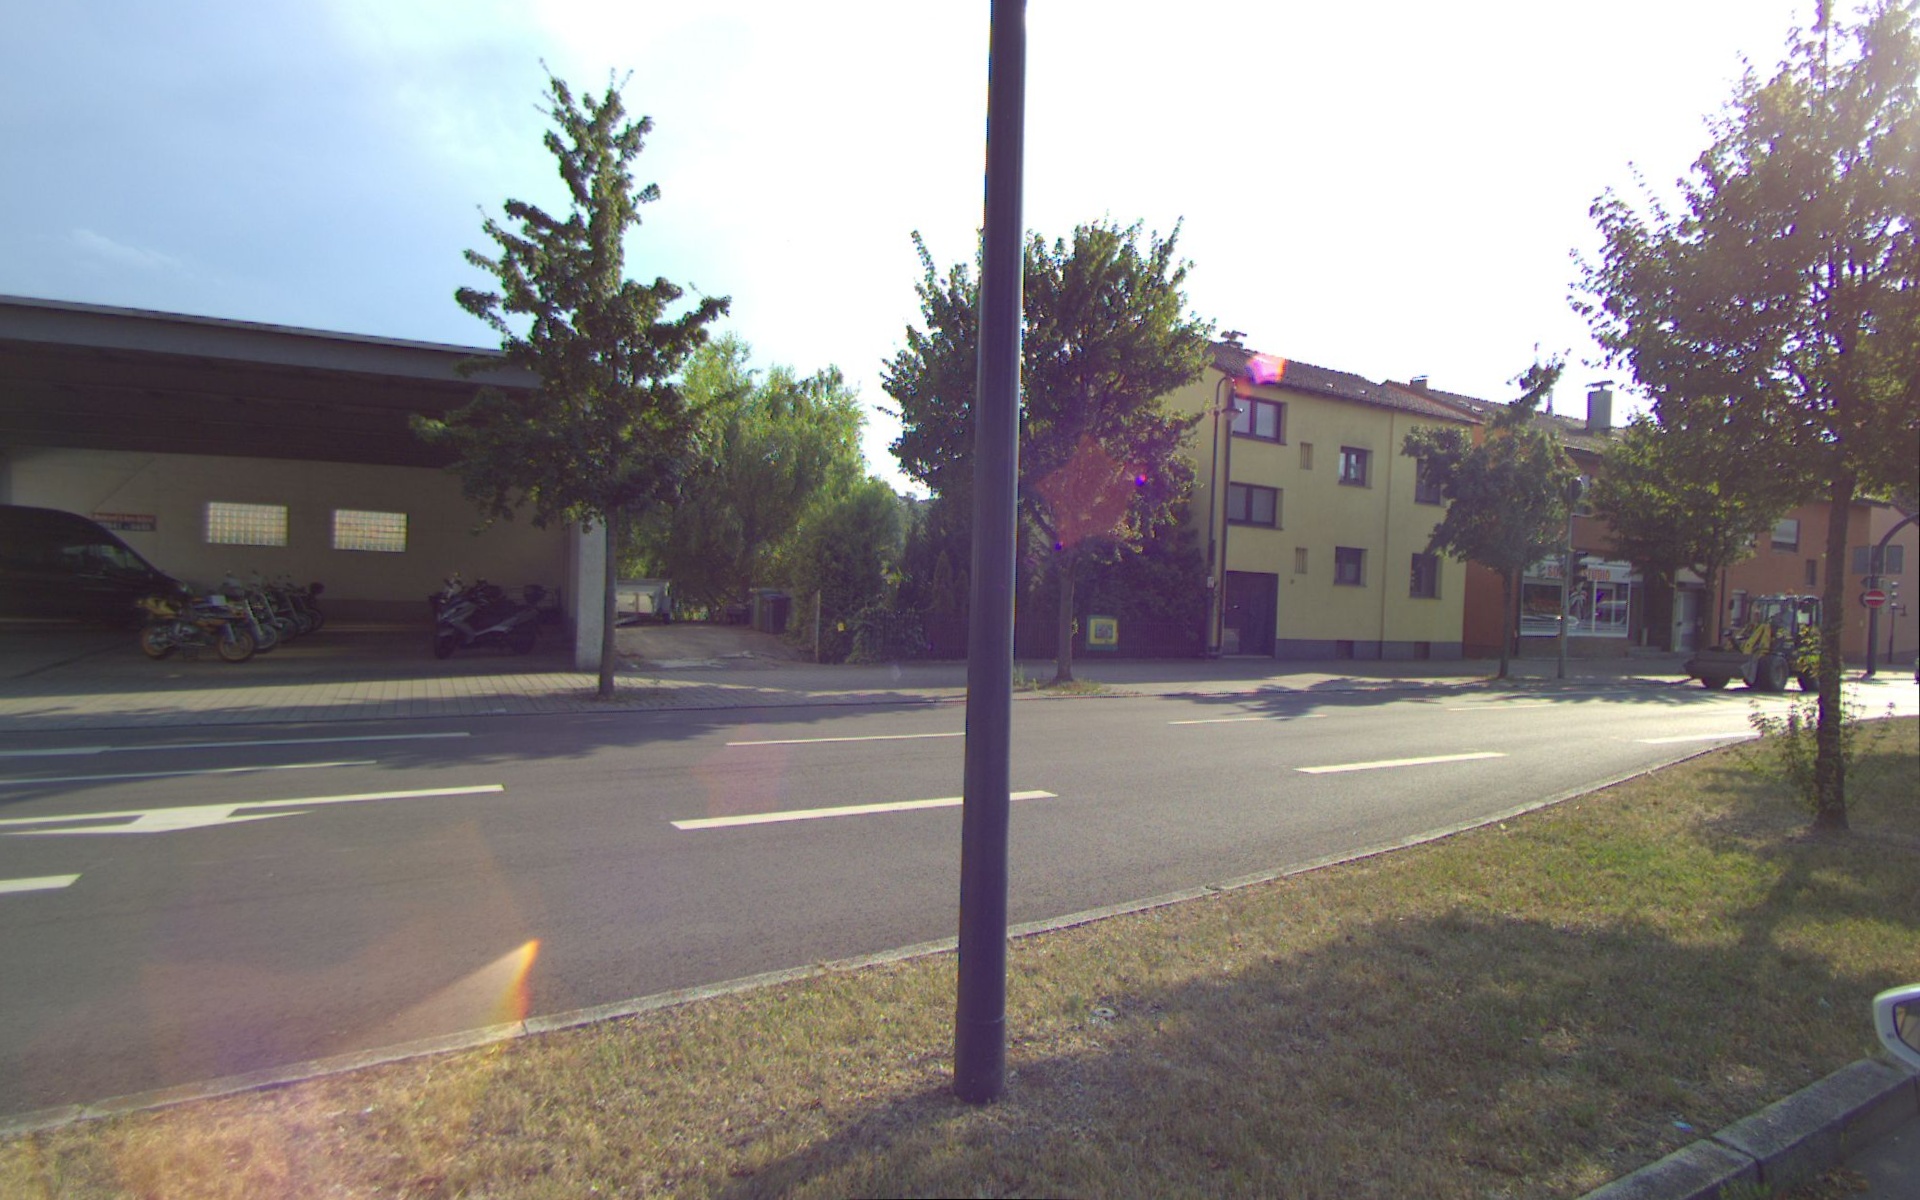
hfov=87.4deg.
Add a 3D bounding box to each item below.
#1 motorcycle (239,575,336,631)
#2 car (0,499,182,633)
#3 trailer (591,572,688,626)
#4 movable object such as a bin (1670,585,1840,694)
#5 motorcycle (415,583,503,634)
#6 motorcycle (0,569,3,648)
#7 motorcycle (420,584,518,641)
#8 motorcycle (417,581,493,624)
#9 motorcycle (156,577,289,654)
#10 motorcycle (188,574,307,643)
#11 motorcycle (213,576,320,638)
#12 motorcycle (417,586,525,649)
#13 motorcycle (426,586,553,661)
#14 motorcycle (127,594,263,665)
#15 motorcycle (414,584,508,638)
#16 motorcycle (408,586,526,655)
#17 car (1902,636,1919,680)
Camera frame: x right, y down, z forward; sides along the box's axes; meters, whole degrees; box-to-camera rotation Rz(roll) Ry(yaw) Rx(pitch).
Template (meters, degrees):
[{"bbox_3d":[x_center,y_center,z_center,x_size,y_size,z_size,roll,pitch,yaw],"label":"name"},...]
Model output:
[{"bbox_3d":[-17.054,0.065,25.483,2.219,1.354,0.631,1,0,10],"label":"motorcycle"},{"bbox_3d":[-20.597,-0.725,22.002,1.962,2.789,5.280,1,0,26],"label":"car"},{"bbox_3d":[-8.362,-0.029,26.526,1.698,1.280,3.995,1,0,-7],"label":"trailer"},{"bbox_3d":[19.602,0.959,24.724,4.396,2.474,1.729,2,-1,-29],"label":"movable object such as a bin"},{"bbox_3d":[-13.659,0.208,27.428,0.621,1.314,2.113,2,2,36],"label":"motorcycle"},{"bbox_3d":[-17.434,0.131,16.635,0.619,1.380,2.225,1,0,24],"label":"motorcycle"},{"bbox_3d":[-11.913,0.283,24.447,0.621,1.314,2.113,2,2,36],"label":"motorcycle"},{"bbox_3d":[-16.104,0.065,32.087,0.621,1.314,2.113,2,2,36],"label":"motorcycle"},{"bbox_3d":[-13.779,0.287,18.772,2.219,1.354,0.631,1,0,10],"label":"motorcycle"},{"bbox_3d":[-14.899,0.171,21.015,2.219,1.354,0.631,1,0,10],"label":"motorcycle"},{"bbox_3d":[-16.031,0.146,23.224,2.219,1.354,0.631,1,0,10],"label":"motorcycle"},{"bbox_3d":[-10.889,0.357,22.446,0.621,1.314,2.113,2,2,36],"label":"motorcycle"},{"bbox_3d":[-8.766,0.407,18.806,0.621,1.314,2.113,2,2,36],"label":"motorcycle"},{"bbox_3d":[-12.644,0.474,16.606,1.993,1.101,0.631,1,0,12],"label":"motorcycle"},{"bbox_3d":[-12.794,0.262,25.830,0.621,1.314,2.113,2,2,36],"label":"motorcycle"},{"bbox_3d":[-9.959,0.377,20.368,0.621,1.314,2.113,2,2,36],"label":"motorcycle"},{"bbox_3d":[31.791,1.914,31.725,3.750,1.319,1.730,2,4,-27],"label":"car"}]
